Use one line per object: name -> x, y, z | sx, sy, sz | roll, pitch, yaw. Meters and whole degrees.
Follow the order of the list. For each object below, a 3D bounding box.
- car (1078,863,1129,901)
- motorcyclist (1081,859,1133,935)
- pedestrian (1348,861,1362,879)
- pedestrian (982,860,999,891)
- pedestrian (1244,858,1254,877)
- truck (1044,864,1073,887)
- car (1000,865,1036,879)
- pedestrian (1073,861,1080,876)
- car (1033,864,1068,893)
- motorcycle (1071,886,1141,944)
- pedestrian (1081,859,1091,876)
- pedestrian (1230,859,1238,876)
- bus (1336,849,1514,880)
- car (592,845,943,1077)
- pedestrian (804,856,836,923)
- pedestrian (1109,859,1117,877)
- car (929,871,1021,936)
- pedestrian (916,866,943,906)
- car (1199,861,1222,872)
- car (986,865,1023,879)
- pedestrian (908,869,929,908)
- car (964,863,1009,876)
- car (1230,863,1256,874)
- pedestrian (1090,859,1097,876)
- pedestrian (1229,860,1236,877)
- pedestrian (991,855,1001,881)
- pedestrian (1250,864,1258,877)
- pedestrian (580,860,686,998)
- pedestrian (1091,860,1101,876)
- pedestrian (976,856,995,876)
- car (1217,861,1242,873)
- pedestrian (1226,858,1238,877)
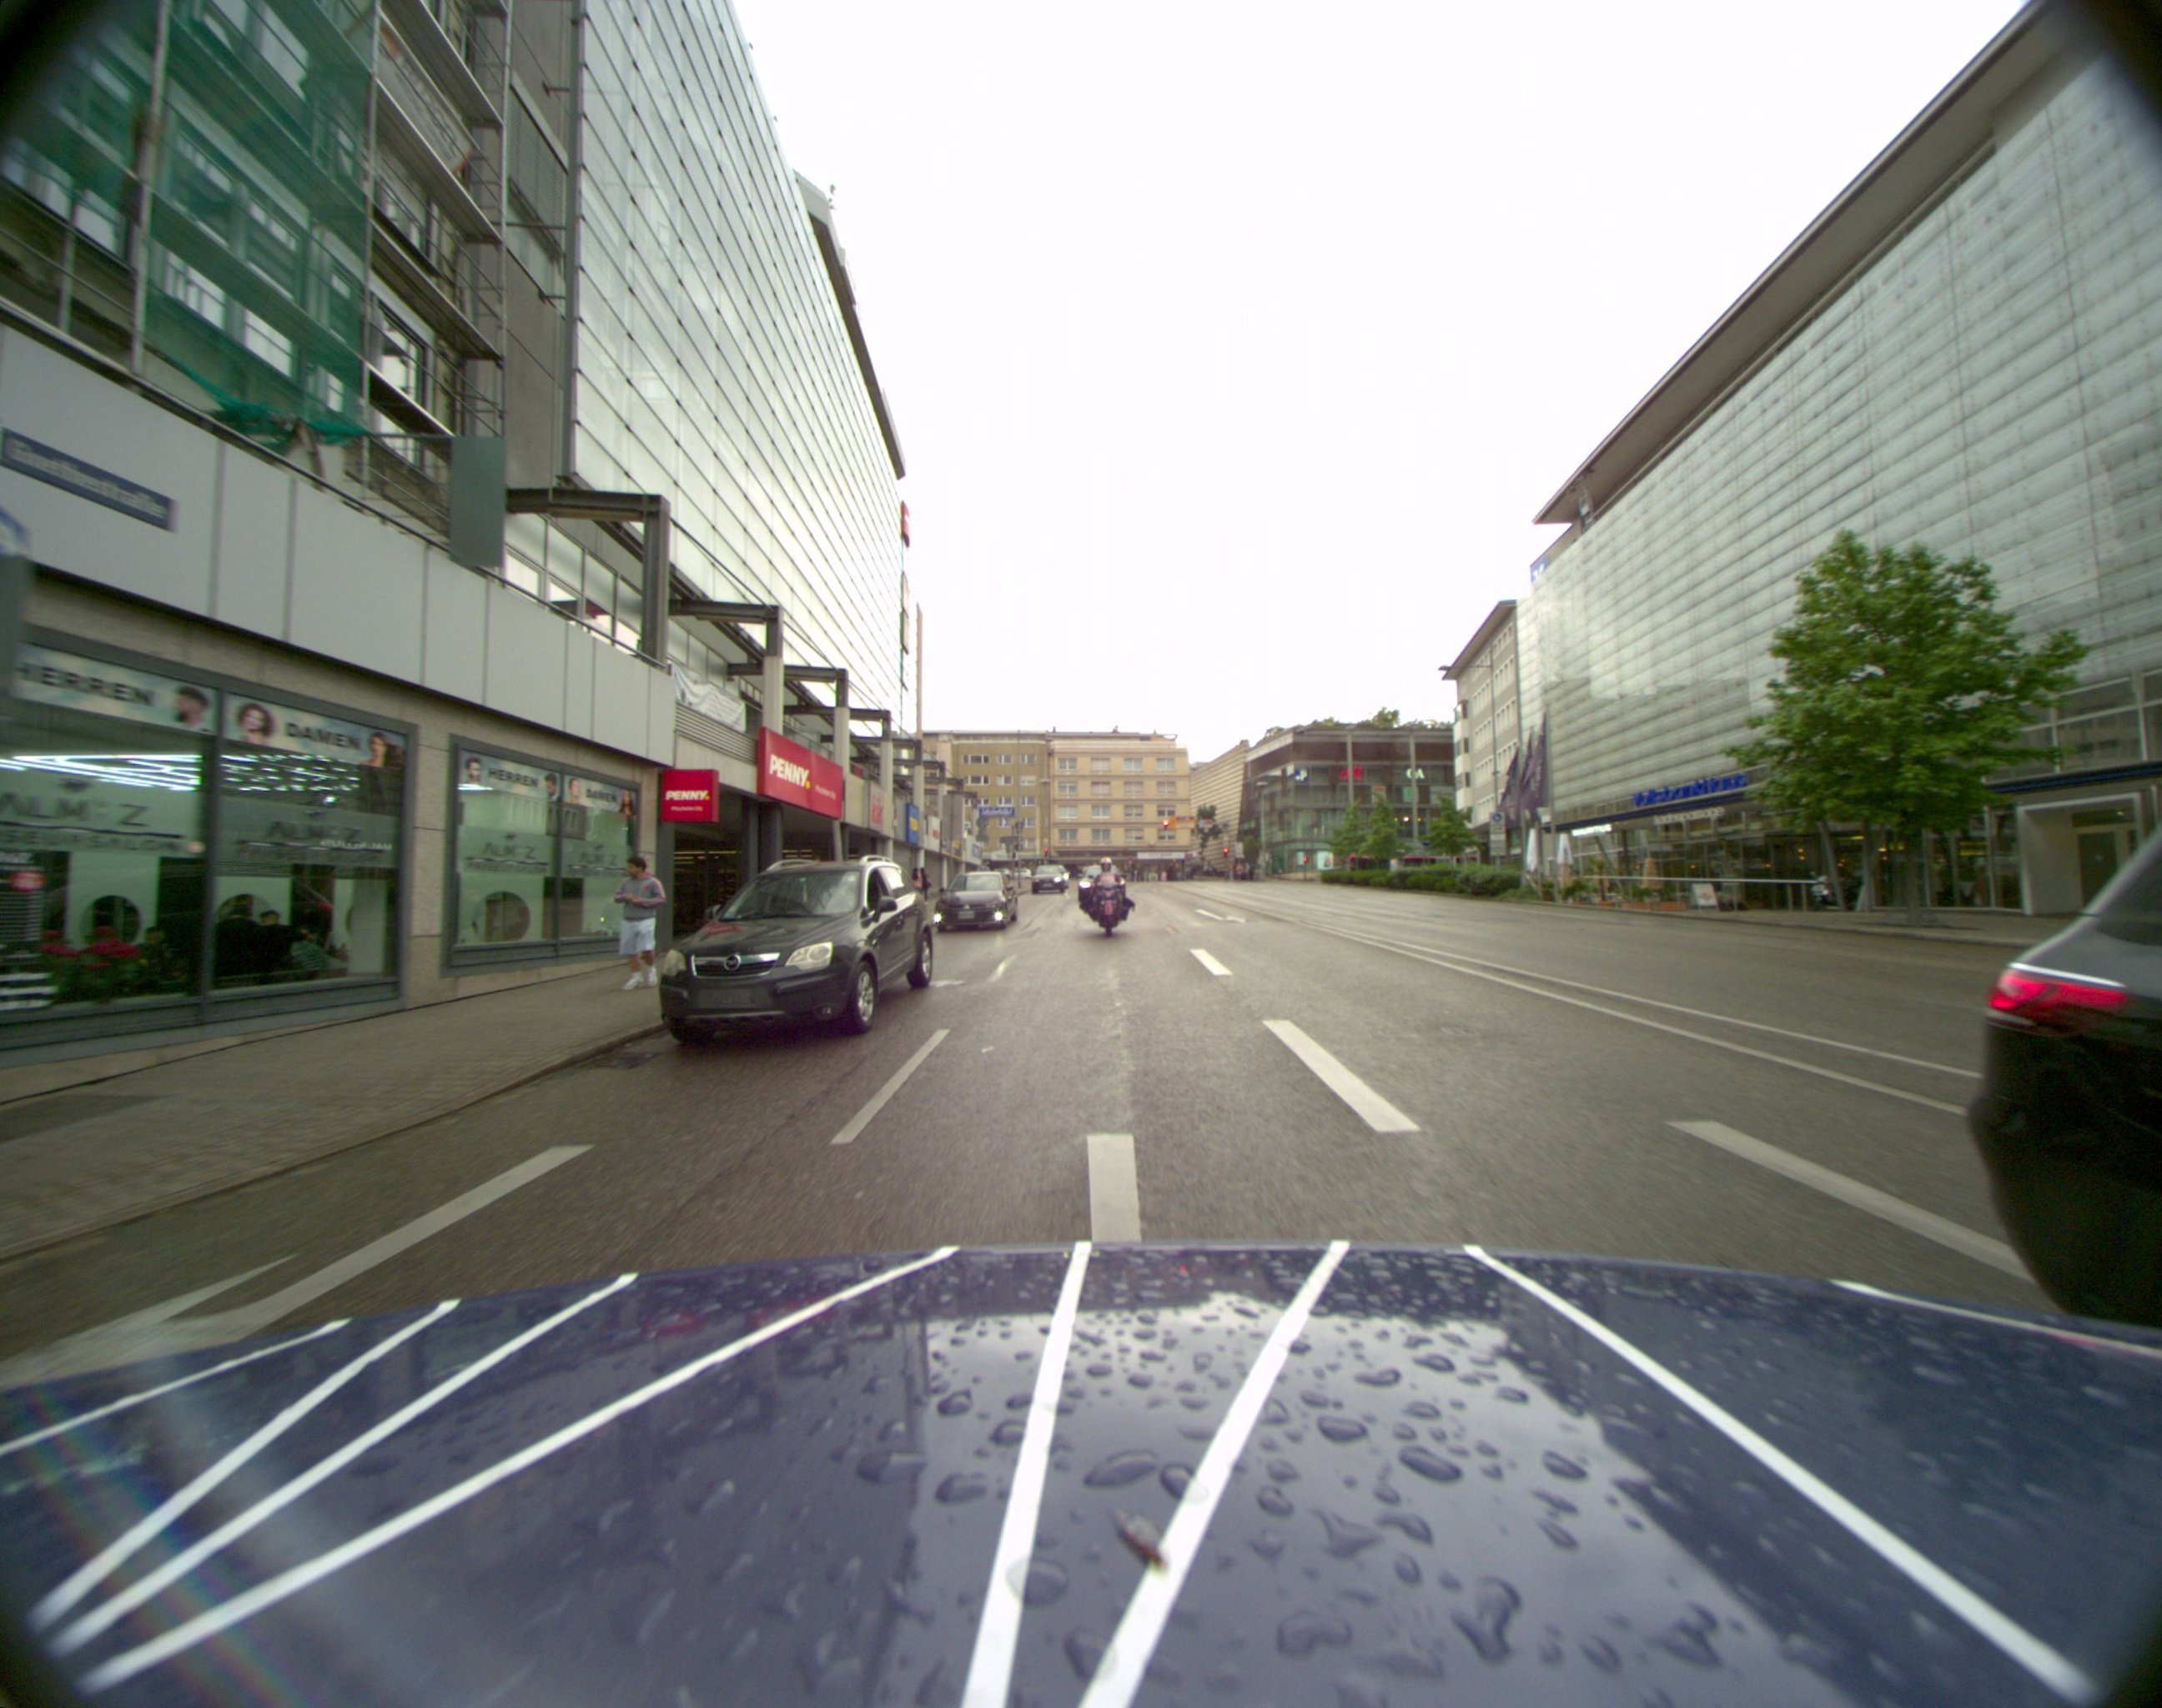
car -> 0.903, 1.197, 32.178 | 1.998, 1.482, 4.736 | 0, -2, 0
motorcyclist -> 0.574, 0.911, 16.410 | 1.092, 1.595, 0.954 | 0, -1, 3
pedestrian -> 25.996, 1.523, 72.139 | 0.800, 1.765, 1.025 | 1, 0, -8
pedestrian -> -5.128, 1.226, 42.973 | 0.837, 1.712, 0.618 | 0, 0, 9
pedestrian -> 15.650, 1.278, 70.849 | 0.617, 1.768, 0.832 | 0, 0, -8
truck -> -1.549, 1.460, 52.823 | 1.854, 1.532, 4.000 | -1, -1, 0
car -> -7.644, 2.186, 92.589 | 4.398, 1.541, 1.853 | -1, 0, -3
pedestrian -> -0.419, 1.384, 73.663 | 0.560, 1.479, 0.707 | 1, 0, 2
car -> -1.740, 1.386, 43.547 | 1.871, 1.538, 4.104 | 0, -1, -2
motorcycle -> 0.582, 1.255, 16.234 | 1.312, 1.128, 2.187 | 0, -2, 7
pedestrian -> 0.455, 1.311, 74.225 | 0.914, 1.662, 0.982 | 0, -1, 3
pedestrian -> 14.470, 1.283, 71.903 | 0.638, 1.679, 0.784 | 0, 0, 6
bus -> 37.866, 1.179, 84.008 | 18.466, 3.300, 2.930 | 0, -1, -1
car -> -3.002, 0.946, 8.454 | 1.912, 1.774, 4.303 | -5, -2, 1
pedestrian -> -6.809, 0.904, 19.813 | 0.672, 1.705, 0.816 | 0, -1, -26
pedestrian -> 3.166, 1.394, 75.219 | 0.693, 1.681, 0.759 | 2, 0, 2
car -> -2.688, 1.231, 20.123 | 1.742, 1.422, 3.881 | -5, -2, 0
pedestrian -> -5.613, 1.182, 28.196 | 0.773, 1.458, 0.704 | 0, 0, 9
car -> 19.886, 1.902, 116.868 | 1.899, 1.537, 4.376 | -2, 0, -12
car -> -8.905, 2.085, 88.458 | 4.094, 1.543, 1.845 | 2, -1, -9
pedestrian -> -5.721, 1.203, 26.818 | 0.639, 1.368, 0.704 | 0, 0, -4
car -> -10.053, 1.643, 80.728 | 4.629, 1.407, 1.798 | 0, -2, -3
car -> 22.174, 1.987, 104.265 | 1.806, 1.537, 4.292 | 0, 0, -12
pedestrian -> 1.258, 1.334, 75.870 | 0.706, 1.701, 0.786 | 1, 0, 2
pedestrian -> 14.469, 1.377, 72.569 | 0.501, 1.658, 0.571 | 0, -1, 4
pedestrian -> -6.105, 1.006, 54.624 | 0.600, 1.829, 1.012 | 0, -1, -2
pedestrian -> 24.151, 2.331, 105.984 | 0.695, 1.751, 1.048 | 1, -2, -13
pedestrian -> -5.807, 0.935, 9.883 | 0.837, 1.712, 0.830 | 0, 0, 9
pedestrian -> 1.450, 1.355, 73.183 | 0.854, 1.559, 0.715 | 1, 0, 2
pedestrian -> -7.647, 0.940, 61.109 | 1.061, 1.522, 1.024 | 4, -1, -38
car -> 21.444, 1.880, 109.790 | 1.899, 1.537, 4.376 | -2, 0, -12
pedestrian -> 14.841, 1.313, 74.528 | 0.853, 1.777, 1.012 | 0, -1, -9
